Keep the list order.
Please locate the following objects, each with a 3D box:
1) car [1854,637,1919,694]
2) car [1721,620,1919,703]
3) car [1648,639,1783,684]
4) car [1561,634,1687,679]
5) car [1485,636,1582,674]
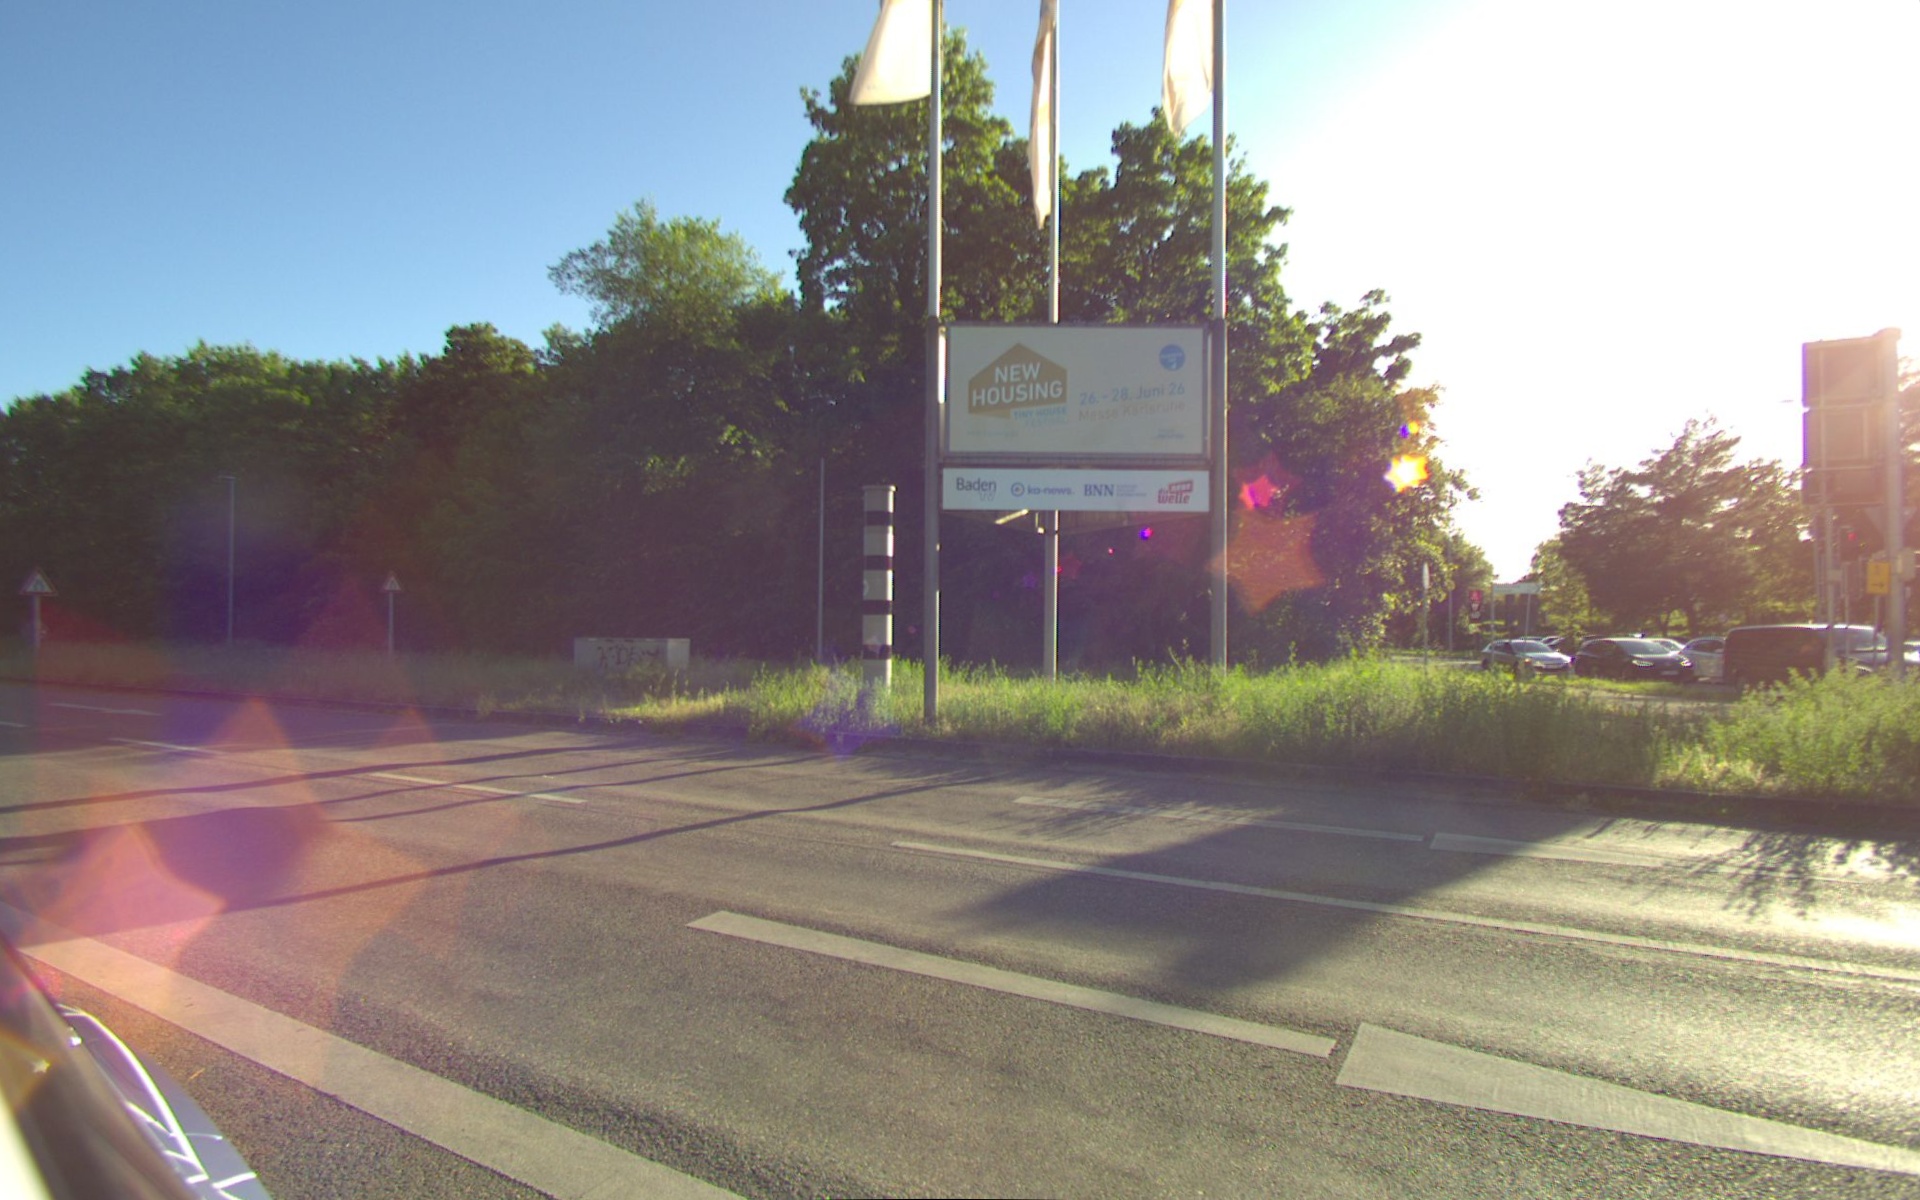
[{"bbox_3d":[24.397,1.621,24.879,1.627,1.400,3.793,0,-2,5],"label":"car"},{"bbox_3d":[21.351,1.438,24.830,1.904,1.844,4.926,0,-2,5],"label":"car"},{"bbox_3d":[25.134,2.005,33.852,1.831,1.400,3.793,0,-2,5],"label":"car"},{"bbox_3d":[21.751,1.807,33.326,1.831,1.400,3.793,0,-2,5],"label":"car"},{"bbox_3d":[22.260,2.100,39.476,1.831,1.400,3.793,0,-2,5],"label":"car"}]
